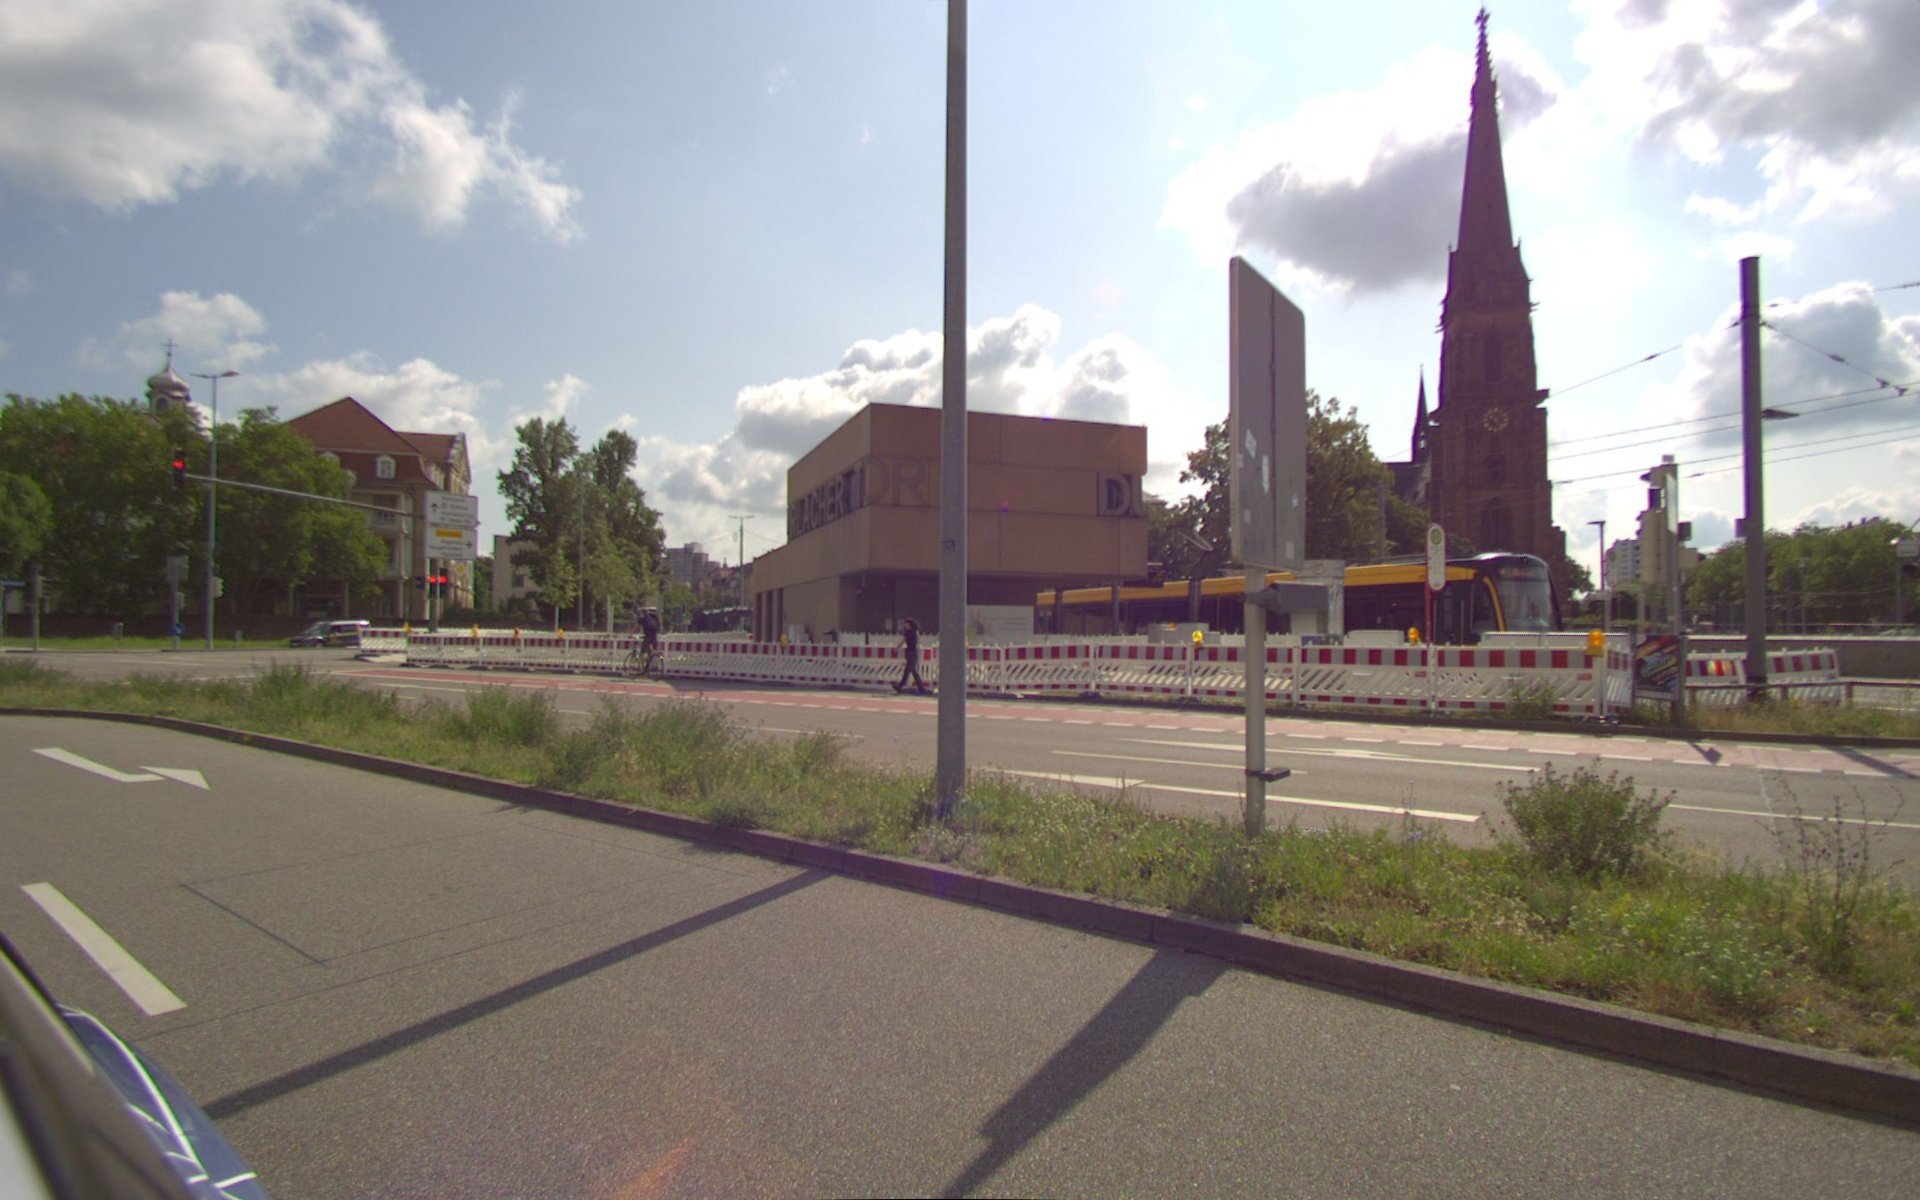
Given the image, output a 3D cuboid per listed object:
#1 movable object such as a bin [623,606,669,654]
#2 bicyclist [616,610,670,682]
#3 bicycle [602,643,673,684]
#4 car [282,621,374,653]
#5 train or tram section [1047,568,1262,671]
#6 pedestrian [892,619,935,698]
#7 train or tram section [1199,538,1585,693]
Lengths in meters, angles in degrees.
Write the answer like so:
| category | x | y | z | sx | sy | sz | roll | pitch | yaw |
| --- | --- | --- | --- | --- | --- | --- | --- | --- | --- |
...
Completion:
| category | x | y | z | sx | sy | sz | roll | pitch | yaw |
| --- | --- | --- | --- | --- | --- | --- | --- | --- | --- |
| movable object such as a bin | -20.221 | 1.937 | 65.137 | 1.965 | 2.972 | 4.465 | 2 | -3 | -28 |
| bicyclist | -8.208 | 1.179 | 26.211 | 1.156 | 1.836 | 0.804 | -1 | -2 | 33 |
| bicycle | -8.394 | 1.633 | 26.316 | 2.012 | 1.009 | 0.612 | -1 | -2 | 32 |
| car | -37.796 | 2.226 | 60.702 | 1.838 | 1.799 | 4.646 | -2 | -3 | 16 |
| train or tram section | 7.403 | 0.875 | 41.474 | 2.585 | 3.591 | 12.453 | 1 | -2 | -20 |
| pedestrian | -1.018 | 1.262 | 22.204 | 0.640 | 1.694 | 0.729 | -1 | -2 | 37 |
| train or tram section | 11.645 | 0.543 | 29.741 | 2.622 | 3.599 | 12.452 | 1 | -2 | -20 |
